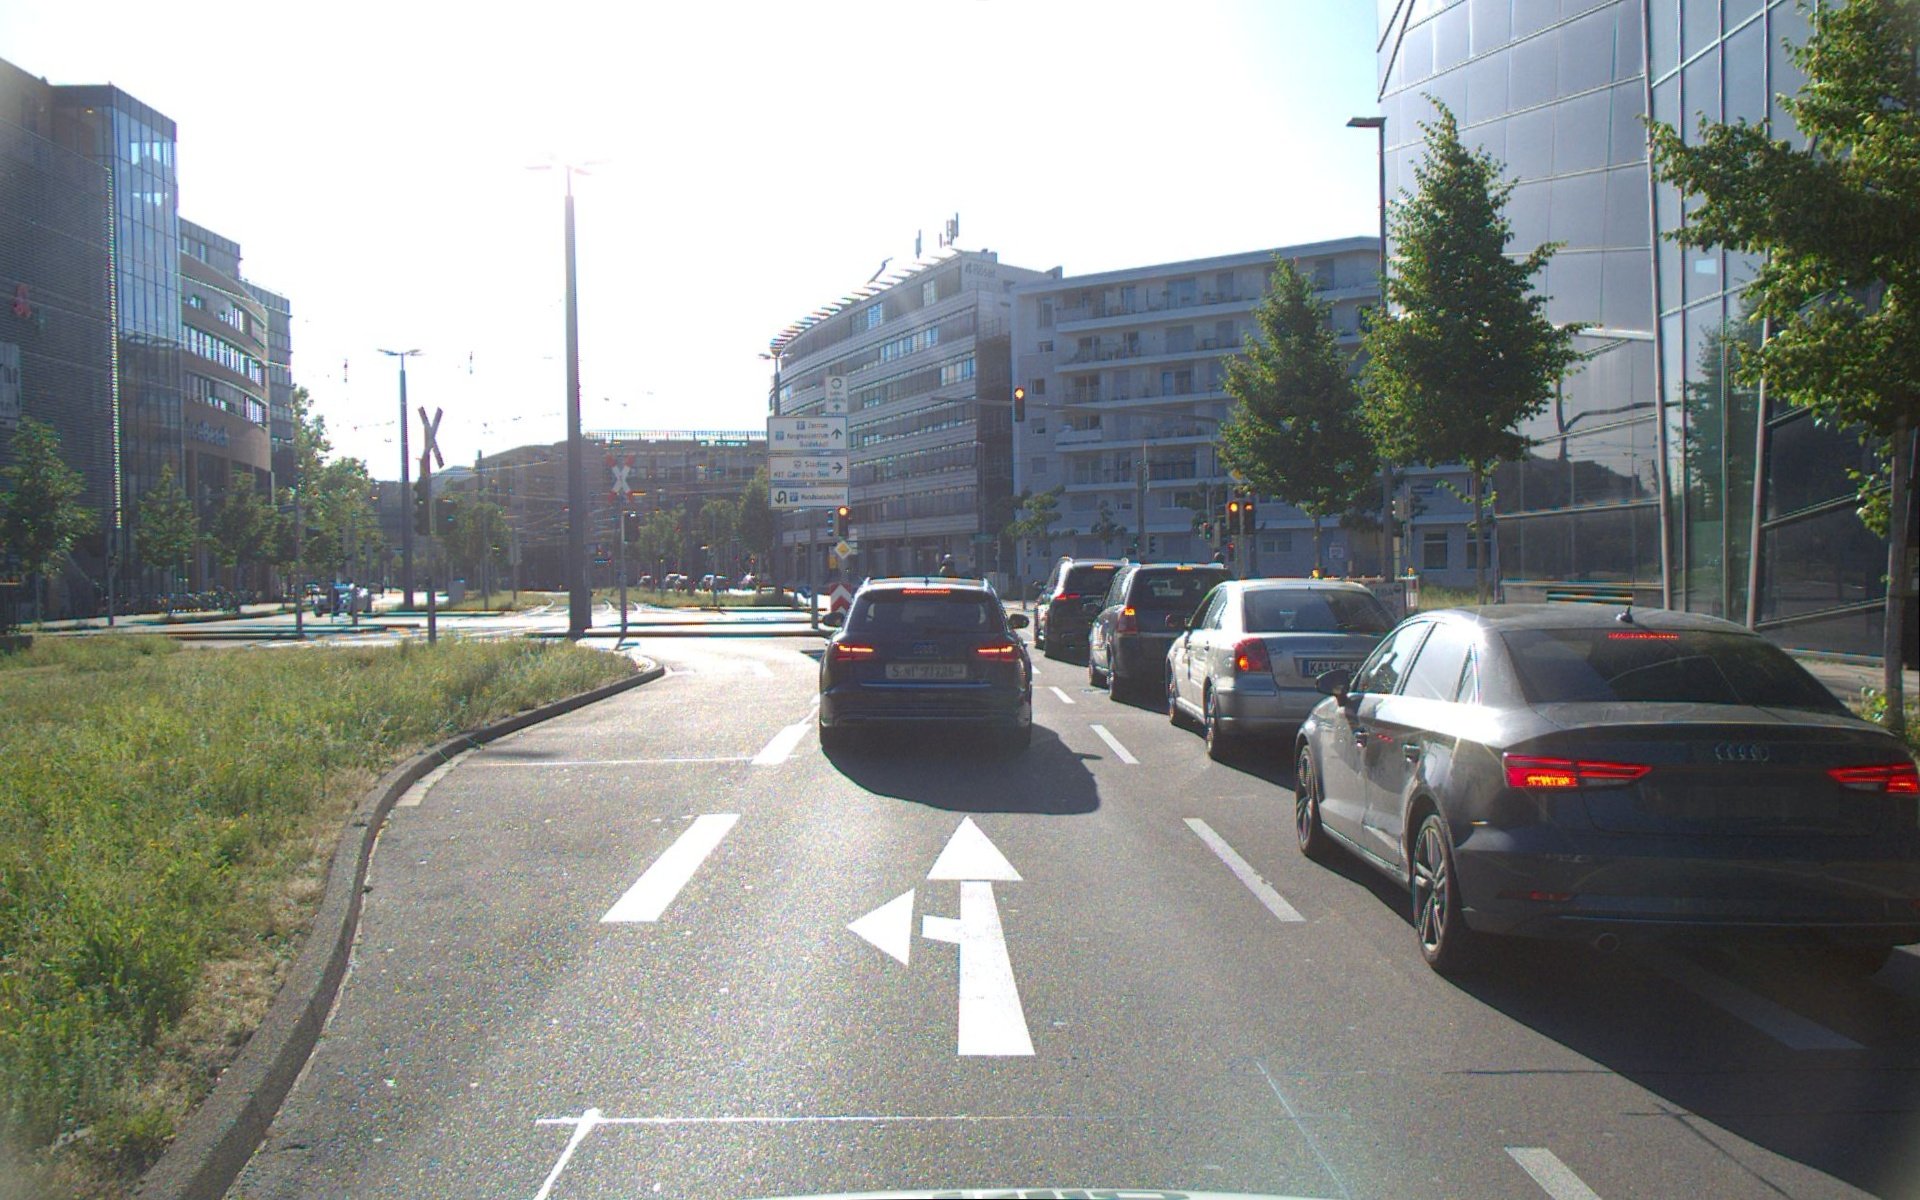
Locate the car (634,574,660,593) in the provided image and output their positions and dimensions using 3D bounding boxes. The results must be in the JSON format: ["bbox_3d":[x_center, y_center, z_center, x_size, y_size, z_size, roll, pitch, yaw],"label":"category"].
[{"bbox_3d":[-31.243,-1.627,165.065,1.963,1.735,3.978,-2,0,-19],"label":"car"}]

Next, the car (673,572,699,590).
[{"bbox_3d":[-26.502,-1.816,159.848,1.961,1.624,3.983,-2,0,-16],"label":"car"}]

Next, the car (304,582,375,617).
[{"bbox_3d":[-30.078,-0.041,80.308,1.954,1.572,4.527,-1,1,-4],"label":"car"}]

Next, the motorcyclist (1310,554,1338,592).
[{"bbox_3d":[15.019,-1.113,68.201,0.905,1.507,1.172,-1,1,2],"label":"motorcyclist"}]

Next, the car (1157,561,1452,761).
[{"bbox_3d":[2.918,0.433,14.992,1.710,1.507,4.628,-1,1,0],"label":"car"}]

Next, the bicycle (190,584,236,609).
[{"bbox_3d":[-46.751,-0.207,103.499,2.507,1.458,0.905,-2,0,8],"label":"bicycle"}]

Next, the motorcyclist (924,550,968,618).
[{"bbox_3d":[-0.284,-0.323,33.507,0.845,1.349,0.681,-1,1,-1],"label":"motorcyclist"}]

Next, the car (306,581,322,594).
[{"bbox_3d":[-86.660,-1.661,222.021,1.631,1.616,3.328,-1,1,-28],"label":"car"}]

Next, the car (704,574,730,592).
[{"bbox_3d":[-23.175,-1.599,157.534,1.961,1.624,3.983,-2,0,-16],"label":"car"}]

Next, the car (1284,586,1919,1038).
[{"bbox_3d":[2.693,0.665,7.446,1.710,1.416,4.265,0,1,1],"label":"car"}]

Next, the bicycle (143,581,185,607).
[{"bbox_3d":[-46.345,-0.368,96.282,2.039,1.458,0.861,-2,0,8],"label":"bicycle"}]

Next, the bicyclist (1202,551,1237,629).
[{"bbox_3d":[5.615,-0.224,35.816,0.640,1.671,0.972,-1,1,2],"label":"bicyclist"}]

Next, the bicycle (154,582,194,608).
[{"bbox_3d":[-46.303,-0.290,97.471,1.935,1.458,0.807,-2,0,8],"label":"bicycle"}]

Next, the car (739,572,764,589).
[{"bbox_3d":[-21.419,-1.973,169.993,1.961,1.624,3.984,-2,0,-15],"label":"car"}]

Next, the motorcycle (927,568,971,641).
[{"bbox_3d":[-0.233,0.071,33.517,0.845,1.417,1.893,-1,1,-1],"label":"motorcycle"}]

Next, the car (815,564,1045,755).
[{"bbox_3d":[-0.272,0.429,15.119,1.805,1.479,4.000,1,1,-1],"label":"car"}]

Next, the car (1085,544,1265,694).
[{"bbox_3d":[2.635,0.186,21.145,1.710,1.725,4.260,0,1,-1],"label":"car"}]

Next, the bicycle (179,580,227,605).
[{"bbox_3d":[-46.330,-0.445,101.253,2.507,1.458,0.905,-2,0,8],"label":"bicycle"}]

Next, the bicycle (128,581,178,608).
[{"bbox_3d":[-46.481,-0.323,95.285,2.319,1.458,1.077,-2,0,8],"label":"bicycle"}]

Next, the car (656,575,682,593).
[{"bbox_3d":[-29.140,-1.611,165.660,1.963,1.735,3.978,-2,0,-19],"label":"car"}]

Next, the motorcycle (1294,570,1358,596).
[{"bbox_3d":[15.072,-0.705,68.211,2.402,1.018,1.172,-1,1,2],"label":"motorcycle"}]

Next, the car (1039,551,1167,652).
[{"bbox_3d":[2.603,-0.022,31.143,1.962,1.745,4.372,1,1,-1],"label":"car"}]

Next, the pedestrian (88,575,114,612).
[{"bbox_3d":[-44.511,-0.346,85.722,0.809,1.856,0.905,-2,0,0],"label":"pedestrian"}]
